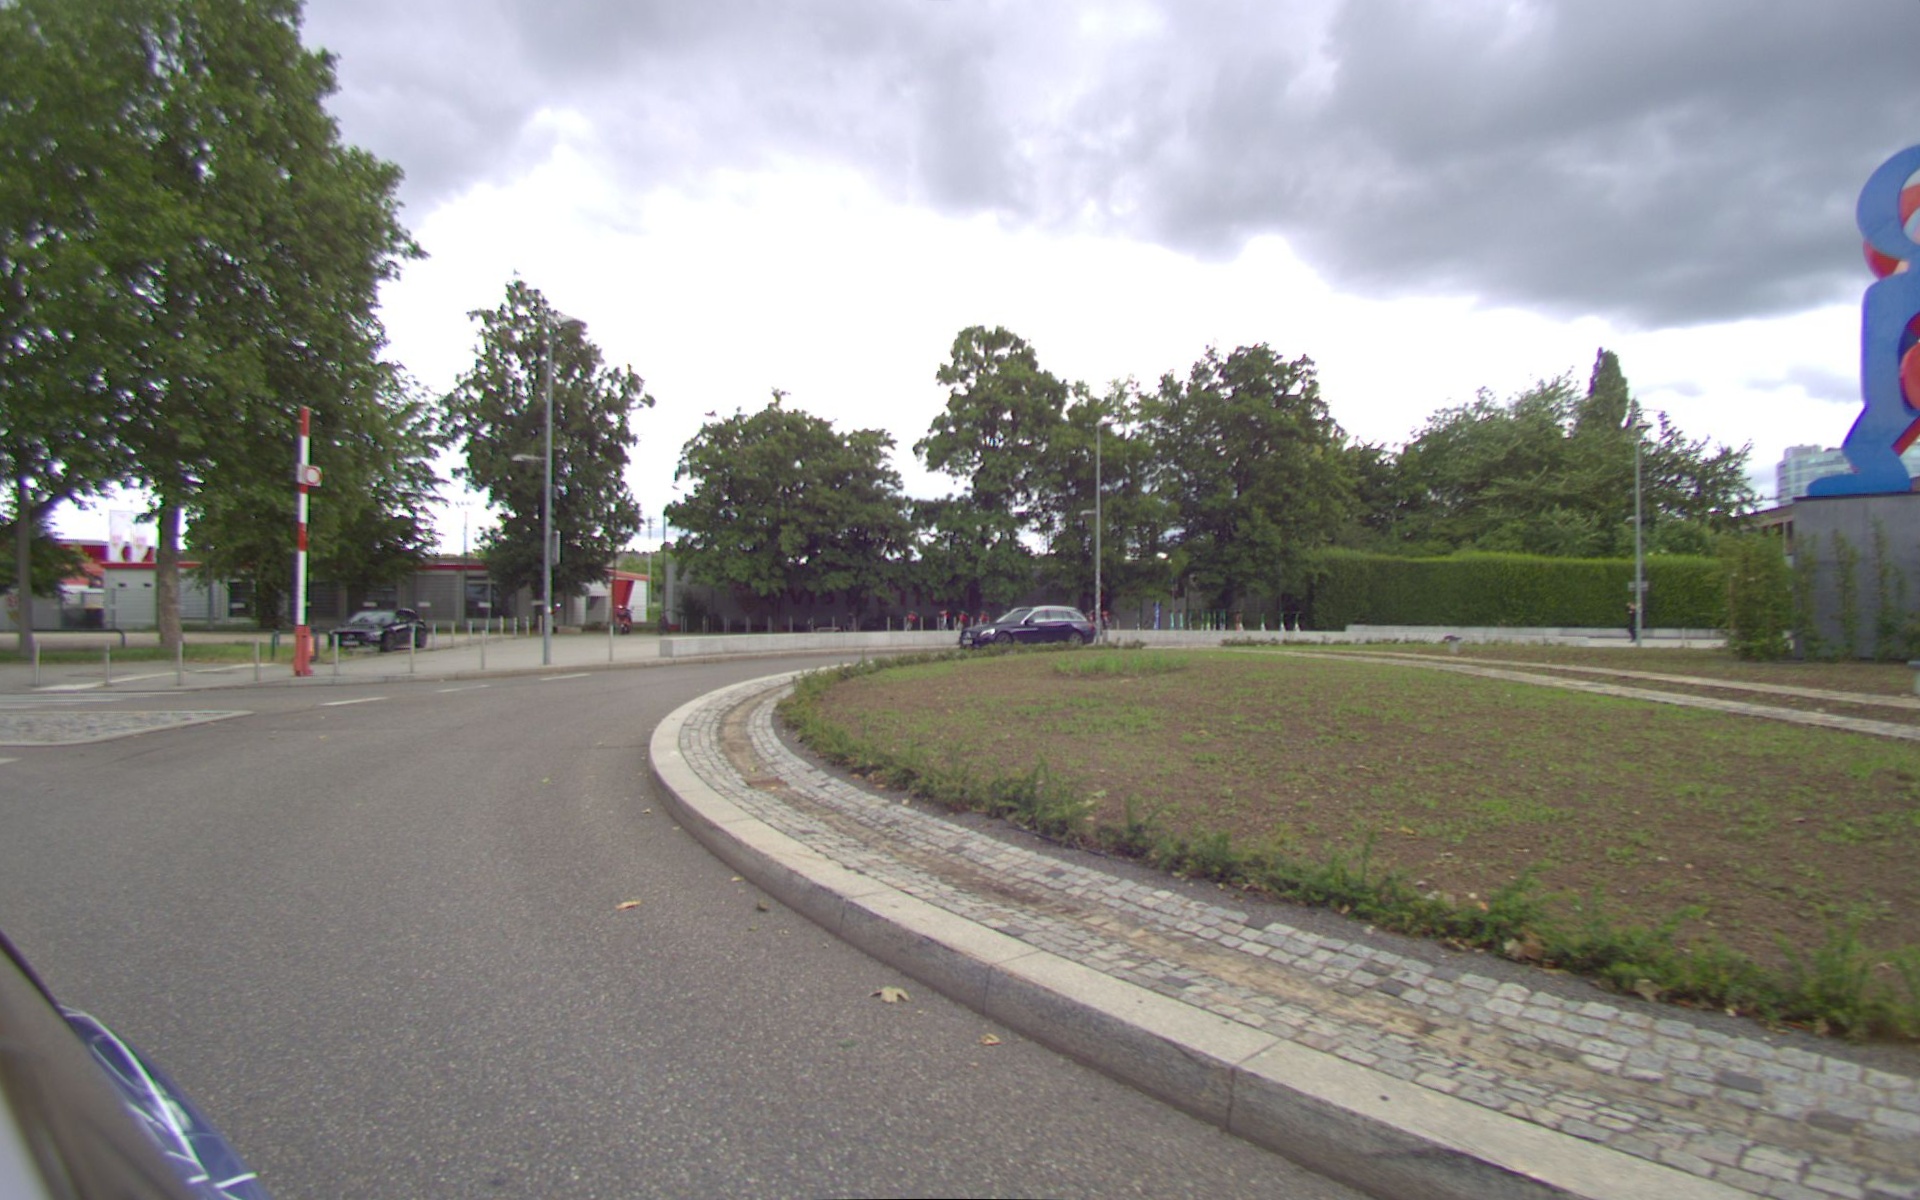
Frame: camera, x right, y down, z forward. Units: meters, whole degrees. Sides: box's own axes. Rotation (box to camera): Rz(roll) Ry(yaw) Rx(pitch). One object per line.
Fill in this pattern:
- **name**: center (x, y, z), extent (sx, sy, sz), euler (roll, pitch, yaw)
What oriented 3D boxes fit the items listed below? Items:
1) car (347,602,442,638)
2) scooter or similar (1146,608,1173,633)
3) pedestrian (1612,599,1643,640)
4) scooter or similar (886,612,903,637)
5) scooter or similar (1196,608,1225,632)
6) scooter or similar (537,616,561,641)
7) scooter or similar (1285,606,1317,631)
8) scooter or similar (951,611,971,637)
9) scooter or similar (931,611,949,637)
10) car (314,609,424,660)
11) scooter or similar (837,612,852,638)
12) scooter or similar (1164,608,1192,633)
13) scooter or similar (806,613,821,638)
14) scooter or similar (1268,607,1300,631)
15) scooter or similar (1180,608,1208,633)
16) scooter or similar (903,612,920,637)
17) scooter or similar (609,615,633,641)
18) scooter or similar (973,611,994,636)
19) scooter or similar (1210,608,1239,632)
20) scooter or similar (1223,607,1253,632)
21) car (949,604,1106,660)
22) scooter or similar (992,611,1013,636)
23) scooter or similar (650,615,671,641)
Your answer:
- **car**: center (-27.530, 0.969, 49.256), extent (4.410, 1.664, 1.782), euler (-1, 0, 25)
- **scooter or similar**: center (9.321, 0.957, 47.249), extent (0.630, 1.117, 1.979), euler (-1, 0, -7)
- **pedestrian**: center (30.459, 0.881, 46.166), extent (0.854, 1.821, 0.792), euler (-1, 0, 3)
- **scooter or similar**: center (-2.994, 1.111, 46.323), extent (0.630, 1.113, 1.979), euler (-1, 0, -7)
- **scooter or similar**: center (11.723, 0.926, 47.486), extent (0.630, 1.117, 1.979), euler (-1, 0, -7)
- **scooter or similar**: center (-19.081, 1.327, 47.005), extent (0.537, 1.103, 1.812), euler (-1, 0, -7)
- **scooter or similar**: center (16.175, 0.870, 48.047), extent (0.630, 1.117, 1.979), euler (-1, 0, -7)
- **scooter or similar**: center (0.034, 1.080, 46.388), extent (0.630, 1.117, 1.979), euler (-1, 0, -7)
- **scooter or similar**: center (-0.919, 1.092, 46.274), extent (0.630, 1.117, 1.979), euler (-1, 0, -7)
- **car**: center (-19.717, 1.109, 33.956), extent (1.752, 1.536, 3.831), euler (-1, 0, -6)
- **scooter or similar**: center (-5.384, 1.151, 47.087), extent (0.630, 1.117, 1.979), euler (-1, 0, -7)
- **scooter or similar**: center (10.174, 0.946, 47.351), extent (0.630, 1.117, 1.979), euler (-1, 0, -7)
- **scooter or similar**: center (-6.770, 1.157, 46.867), extent (0.630, 1.117, 1.979), euler (-1, 0, -7)
- **scooter or similar**: center (15.348, 0.881, 47.961), extent (0.630, 1.117, 1.979), euler (-1, 0, -7)
- **scooter or similar**: center (10.966, 0.935, 47.430), extent (0.630, 1.117, 1.979), euler (-1, 0, -7)
- **scooter or similar**: center (-2.234, 1.106, 46.402), extent (0.630, 1.117, 1.979), euler (-1, 0, -7)
- **scooter or similar**: center (-15.566, 1.285, 46.523), extent (0.630, 1.117, 1.979), euler (-1, 0, -7)
- **scooter or similar**: center (1.063, 1.066, 46.413), extent (0.630, 1.117, 1.979), euler (-1, 0, -7)
- **scooter or similar**: center (12.415, 0.922, 47.581), extent (0.630, 1.117, 1.979), euler (-1, 0, -7)
- **scooter or similar**: center (13.100, 0.913, 47.672), extent (0.630, 1.117, 1.979), euler (-1, 0, -7)
- **car**: center (2.141, 0.943, 31.668), extent (4.647, 1.576, 1.802), euler (-1, 0, -30)
- **scooter or similar**: center (1.936, 1.055, 46.490), extent (0.630, 1.117, 1.979), euler (-1, 0, -7)
- **scooter or similar**: center (-13.735, 1.261, 46.431), extent (0.630, 1.117, 1.979), euler (-1, 0, -7)
